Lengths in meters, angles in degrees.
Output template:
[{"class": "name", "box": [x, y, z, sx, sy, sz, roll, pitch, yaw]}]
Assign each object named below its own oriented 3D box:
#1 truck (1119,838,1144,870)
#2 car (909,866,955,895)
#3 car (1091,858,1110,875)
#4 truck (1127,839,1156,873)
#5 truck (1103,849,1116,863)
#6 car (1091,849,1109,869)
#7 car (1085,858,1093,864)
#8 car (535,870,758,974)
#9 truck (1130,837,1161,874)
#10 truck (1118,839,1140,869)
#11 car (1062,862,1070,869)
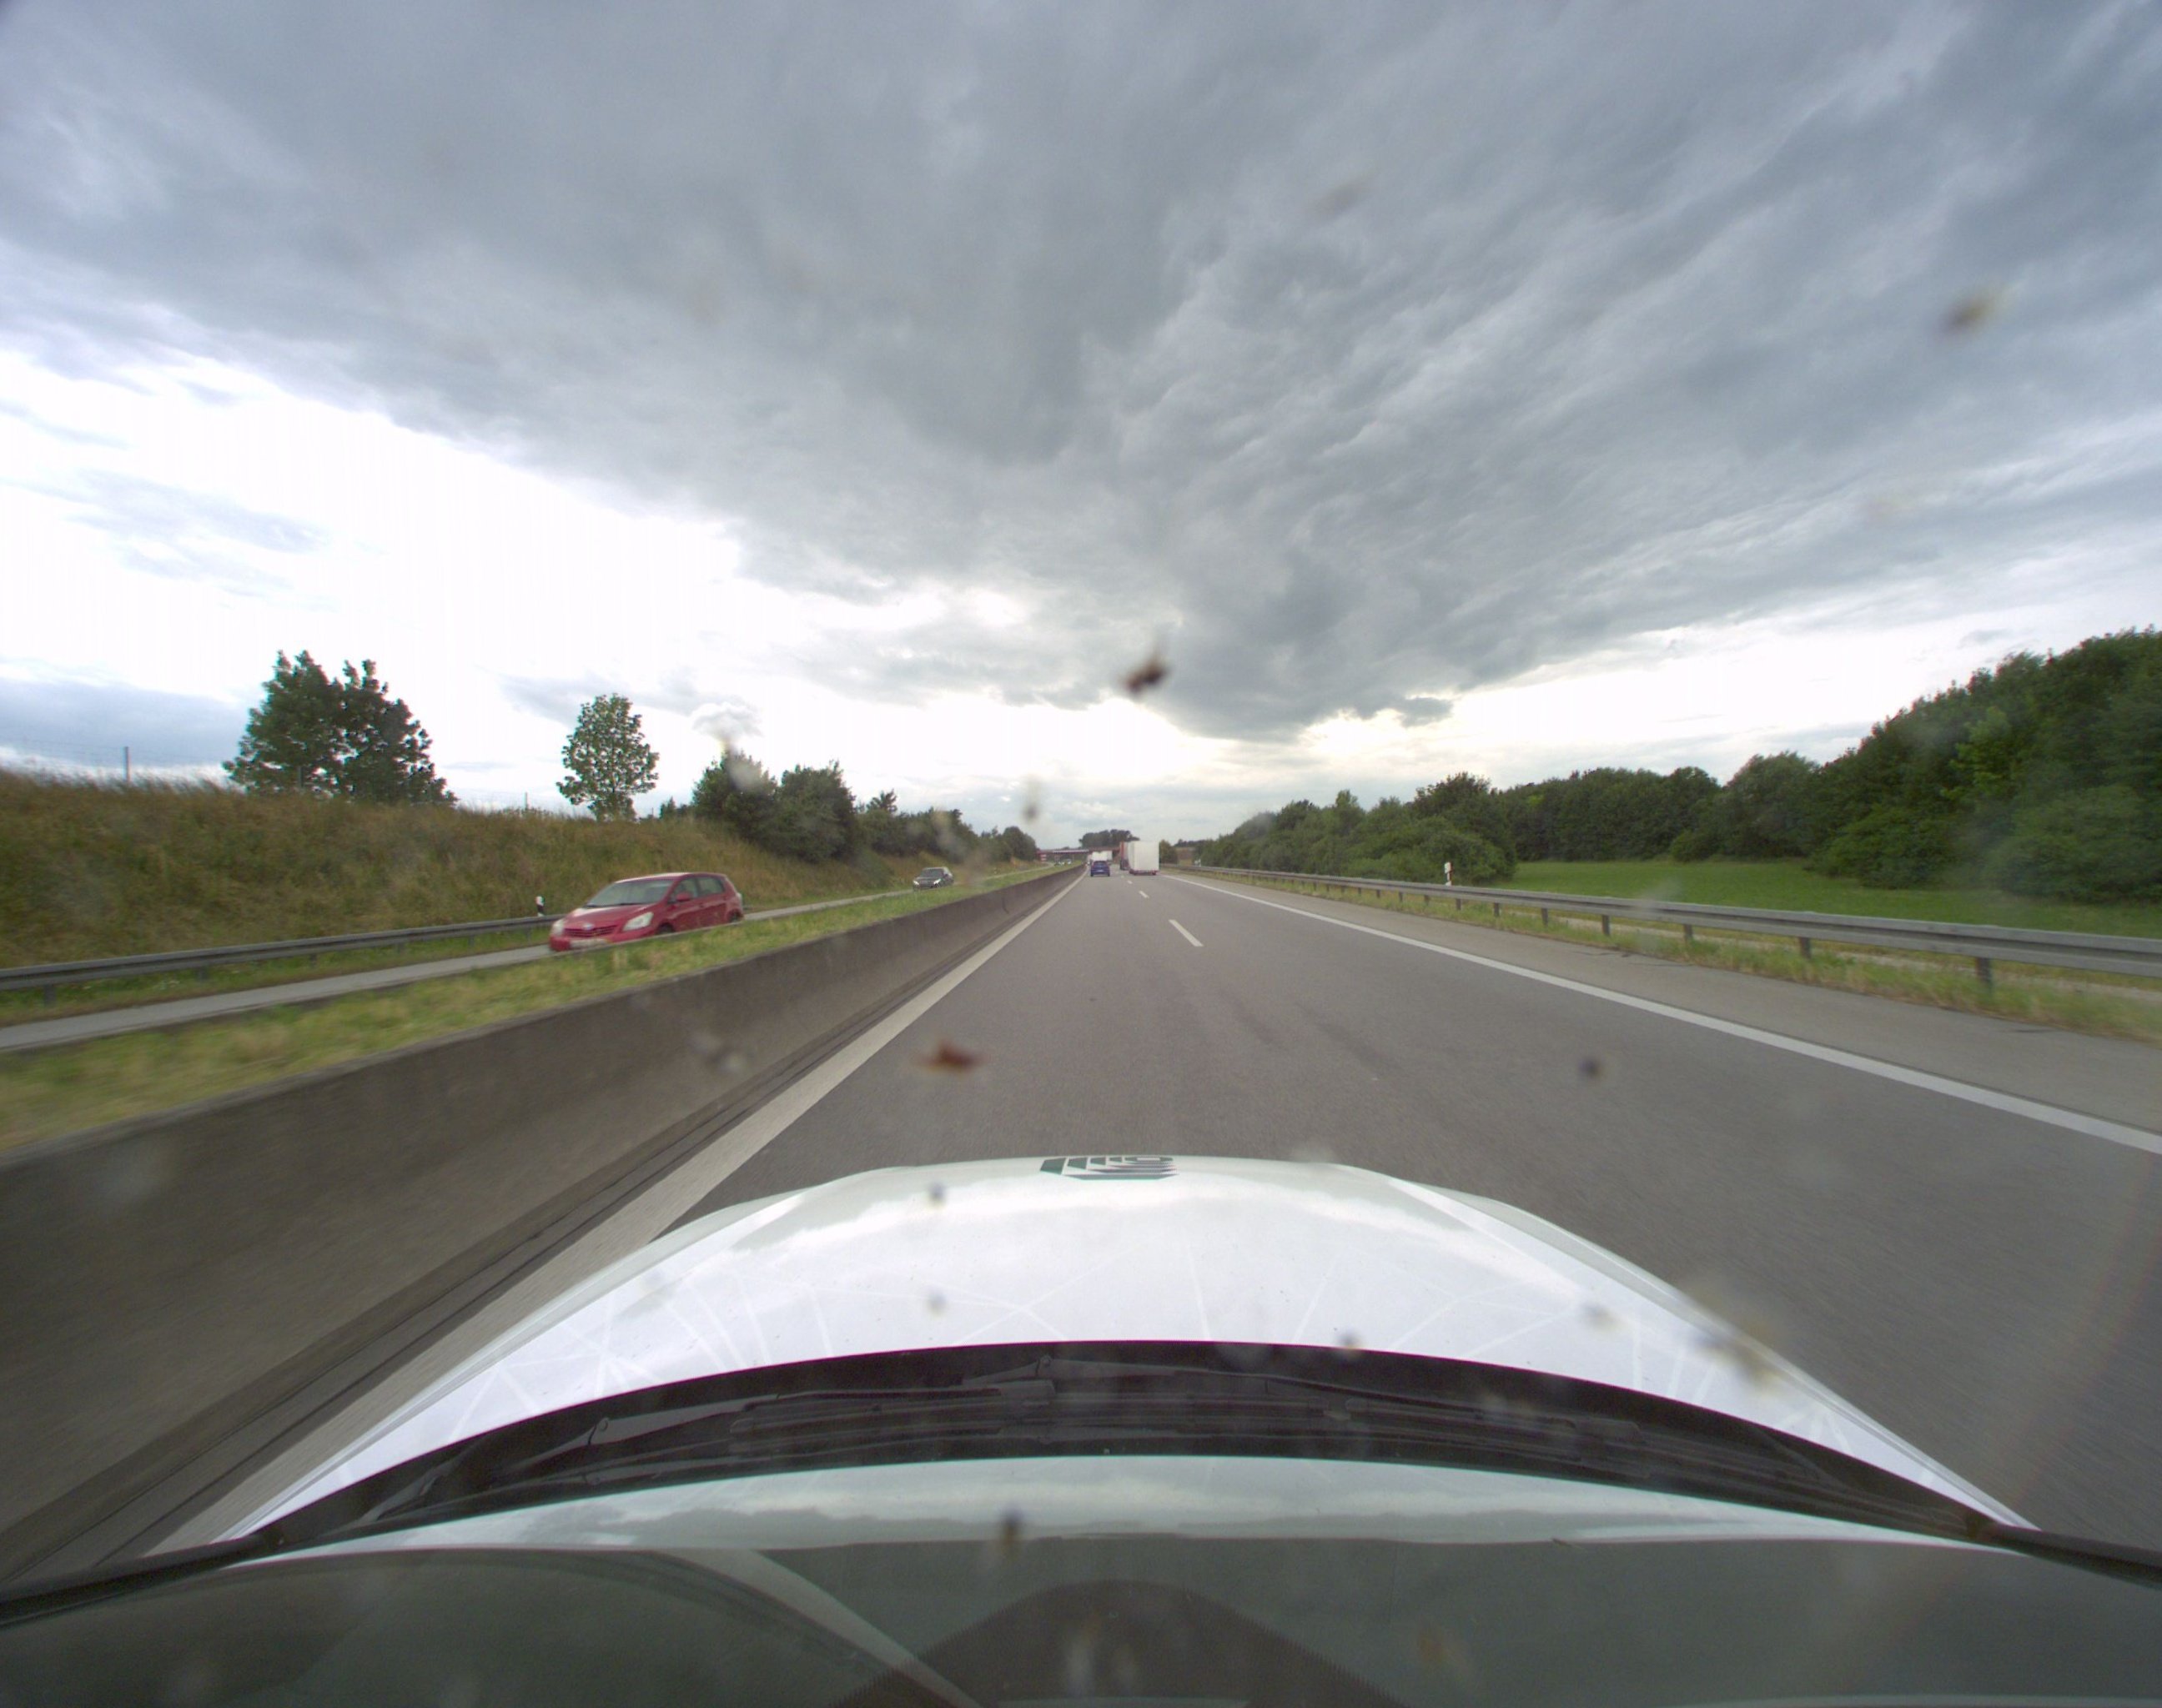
[{"class": "truck", "box": [6.848, -0.005, 111.789, 2.664, 4.045, 11.107, -2, 0, 0]}, {"class": "car", "box": [-9.184, 1.601, 50.559, 1.839, 1.497, 4.581, -4, 0, 2]}, {"class": "car", "box": [1.737, 1.118, 72.177, 1.657, 1.407, 3.649, -1, 0, 1]}, {"class": "truck", "box": [6.091, 0.261, 82.809, 2.421, 3.244, 7.248, -1, -1, 1]}, {"class": "truck", "box": [7.825, 0.522, 224.402, 3.101, 3.689, 9.319, -4, -1, -1]}, {"class": "car", "box": [2.449, 0.689, 106.649, 2.123, 2.483, 5.839, -2, -1, 0]}, {"class": "car", "box": [2.260, 1.973, 233.431, 1.988, 1.684, 3.998, -1, -1, -1]}, {"class": "car", "box": [-8.223, 1.192, 15.951, 1.839, 1.571, 4.362, -3, 0, 2]}, {"class": "truck", "box": [5.929, 0.190, 75.618, 2.406, 3.222, 7.145, -1, -1, 1]}, {"class": "truck", "box": [6.882, -0.004, 117.152, 2.664, 4.045, 5.512, -2, 0, 0]}, {"class": "car", "box": [-3.911, 3.056, 220.170, 1.912, 1.694, 4.597, -3, 0, 1]}]
